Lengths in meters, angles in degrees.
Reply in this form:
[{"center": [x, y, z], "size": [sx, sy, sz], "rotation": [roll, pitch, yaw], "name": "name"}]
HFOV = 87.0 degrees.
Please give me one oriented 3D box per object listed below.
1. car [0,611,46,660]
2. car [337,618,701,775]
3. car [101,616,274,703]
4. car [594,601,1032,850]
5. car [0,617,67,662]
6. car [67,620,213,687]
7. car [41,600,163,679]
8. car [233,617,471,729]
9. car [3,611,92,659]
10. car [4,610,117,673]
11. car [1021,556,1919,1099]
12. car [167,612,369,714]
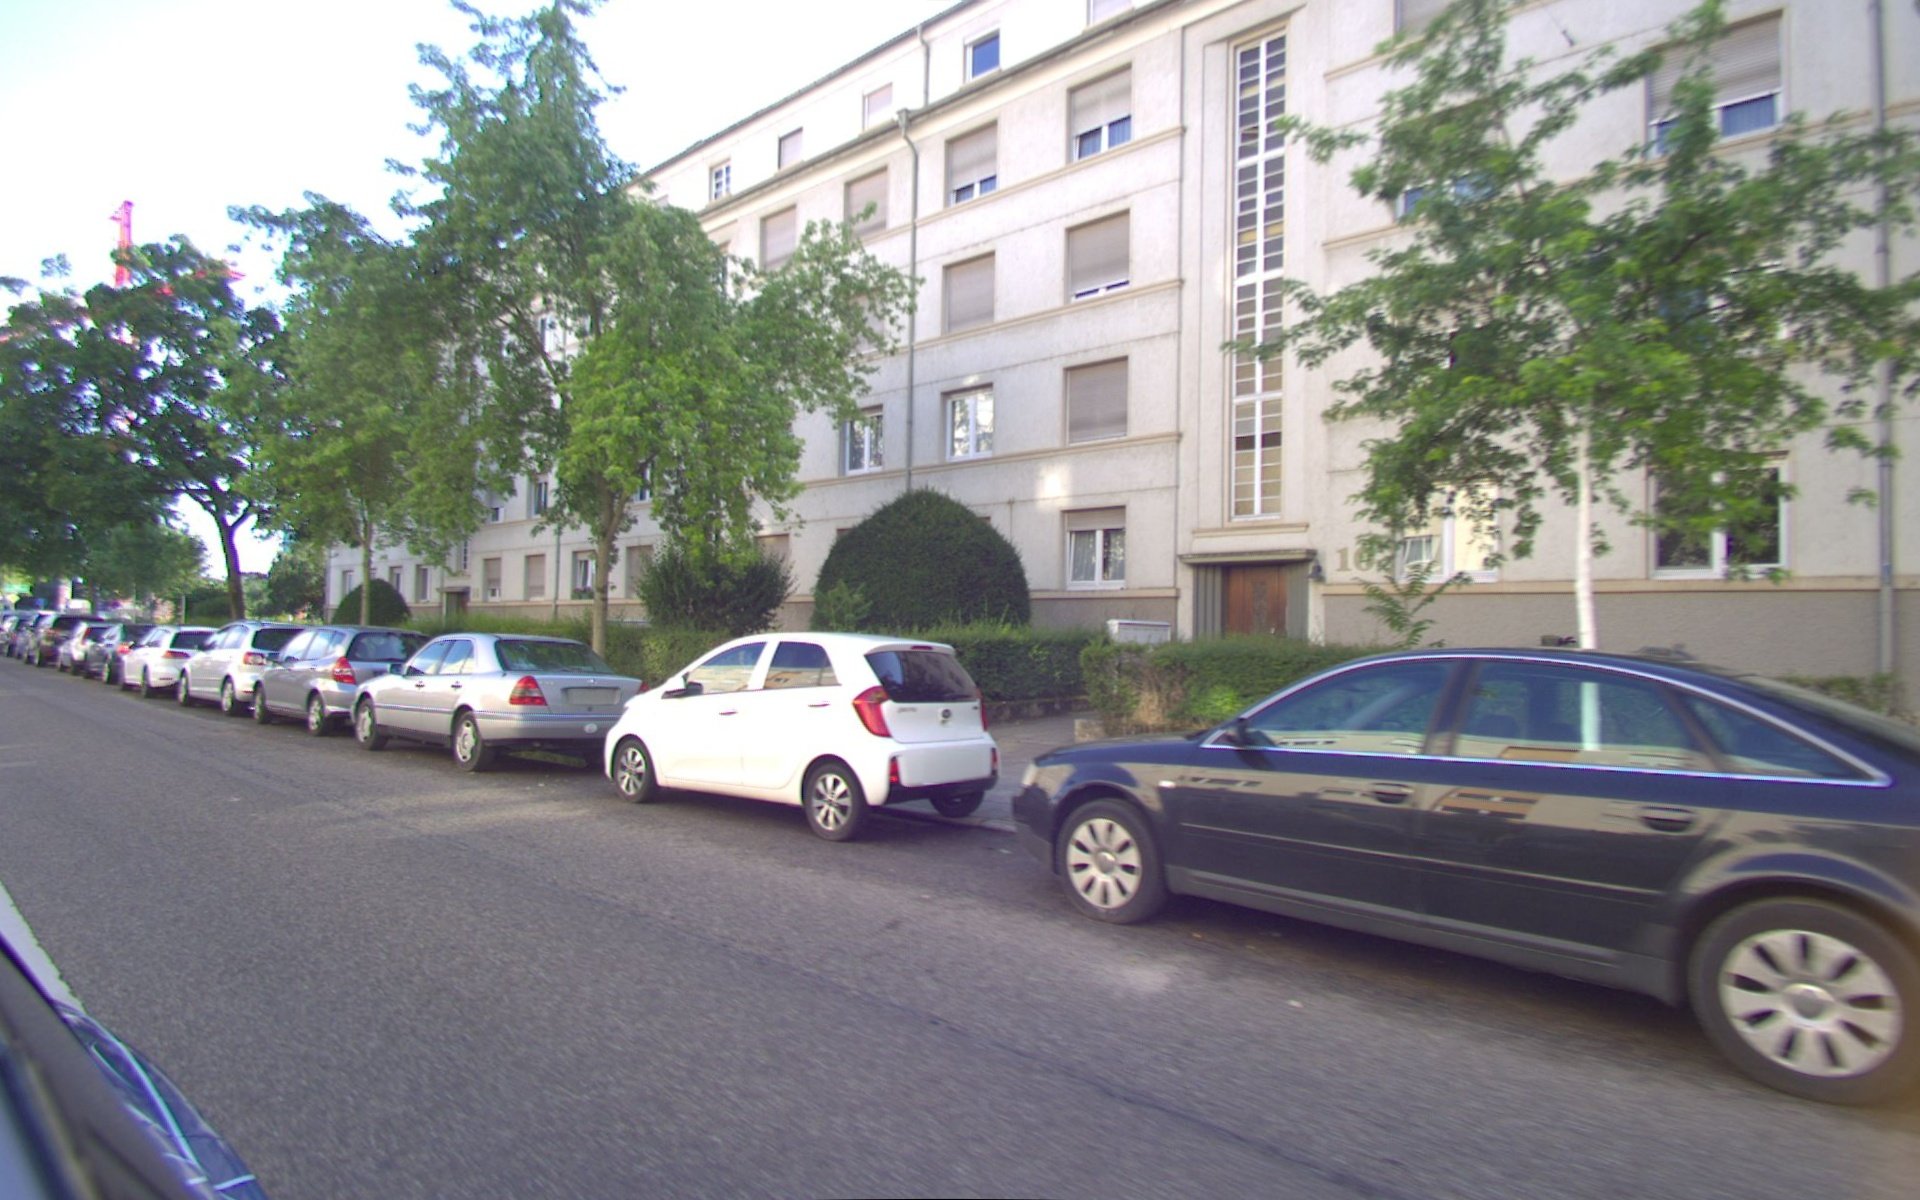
[{"center": [-39.806, 1.465, 42.438], "size": [4.487, 1.911, 1.821], "rotation": [0, 0, 43], "name": "car"}, {"center": [-5.130, 0.952, 11.460], "size": [4.650, 1.366, 1.854], "rotation": [0, -3, 40], "name": "car"}, {"center": [-16.389, 1.167, 21.406], "size": [4.468, 1.564, 1.984], "rotation": [0, 0, 40], "name": "car"}, {"center": [-1.258, 0.853, 8.175], "size": [3.257, 1.586, 1.691], "rotation": [0, -4, 39], "name": "car"}, {"center": [-36.332, 1.503, 39.311], "size": [3.996, 1.563, 1.855], "rotation": [0, 1, 39], "name": "car"}, {"center": [-20.288, 1.270, 24.969], "size": [4.799, 1.445, 1.854], "rotation": [0, -3, 40], "name": "car"}, {"center": [-24.215, 1.085, 28.529], "size": [3.999, 2.029, 1.972], "rotation": [0, -4, 42], "name": "car"}, {"center": [-9.120, 0.975, 15.073], "size": [3.997, 1.365, 1.854], "rotation": [0, 0, 40], "name": "car"}, {"center": [-33.005, 1.222, 36.564], "size": [3.997, 1.564, 1.854], "rotation": [0, 0, 40], "name": "car"}, {"center": [-28.639, 1.292, 32.182], "size": [4.685, 1.772, 1.855], "rotation": [0, -4, 39], "name": "car"}, {"center": [2.300, 0.721, 4.686], "size": [3.821, 1.586, 1.688], "rotation": [0, -4, 44], "name": "car"}, {"center": [-12.329, 1.073, 17.967], "size": [3.996, 1.564, 1.854], "rotation": [0, -4, 40], "name": "car"}]
